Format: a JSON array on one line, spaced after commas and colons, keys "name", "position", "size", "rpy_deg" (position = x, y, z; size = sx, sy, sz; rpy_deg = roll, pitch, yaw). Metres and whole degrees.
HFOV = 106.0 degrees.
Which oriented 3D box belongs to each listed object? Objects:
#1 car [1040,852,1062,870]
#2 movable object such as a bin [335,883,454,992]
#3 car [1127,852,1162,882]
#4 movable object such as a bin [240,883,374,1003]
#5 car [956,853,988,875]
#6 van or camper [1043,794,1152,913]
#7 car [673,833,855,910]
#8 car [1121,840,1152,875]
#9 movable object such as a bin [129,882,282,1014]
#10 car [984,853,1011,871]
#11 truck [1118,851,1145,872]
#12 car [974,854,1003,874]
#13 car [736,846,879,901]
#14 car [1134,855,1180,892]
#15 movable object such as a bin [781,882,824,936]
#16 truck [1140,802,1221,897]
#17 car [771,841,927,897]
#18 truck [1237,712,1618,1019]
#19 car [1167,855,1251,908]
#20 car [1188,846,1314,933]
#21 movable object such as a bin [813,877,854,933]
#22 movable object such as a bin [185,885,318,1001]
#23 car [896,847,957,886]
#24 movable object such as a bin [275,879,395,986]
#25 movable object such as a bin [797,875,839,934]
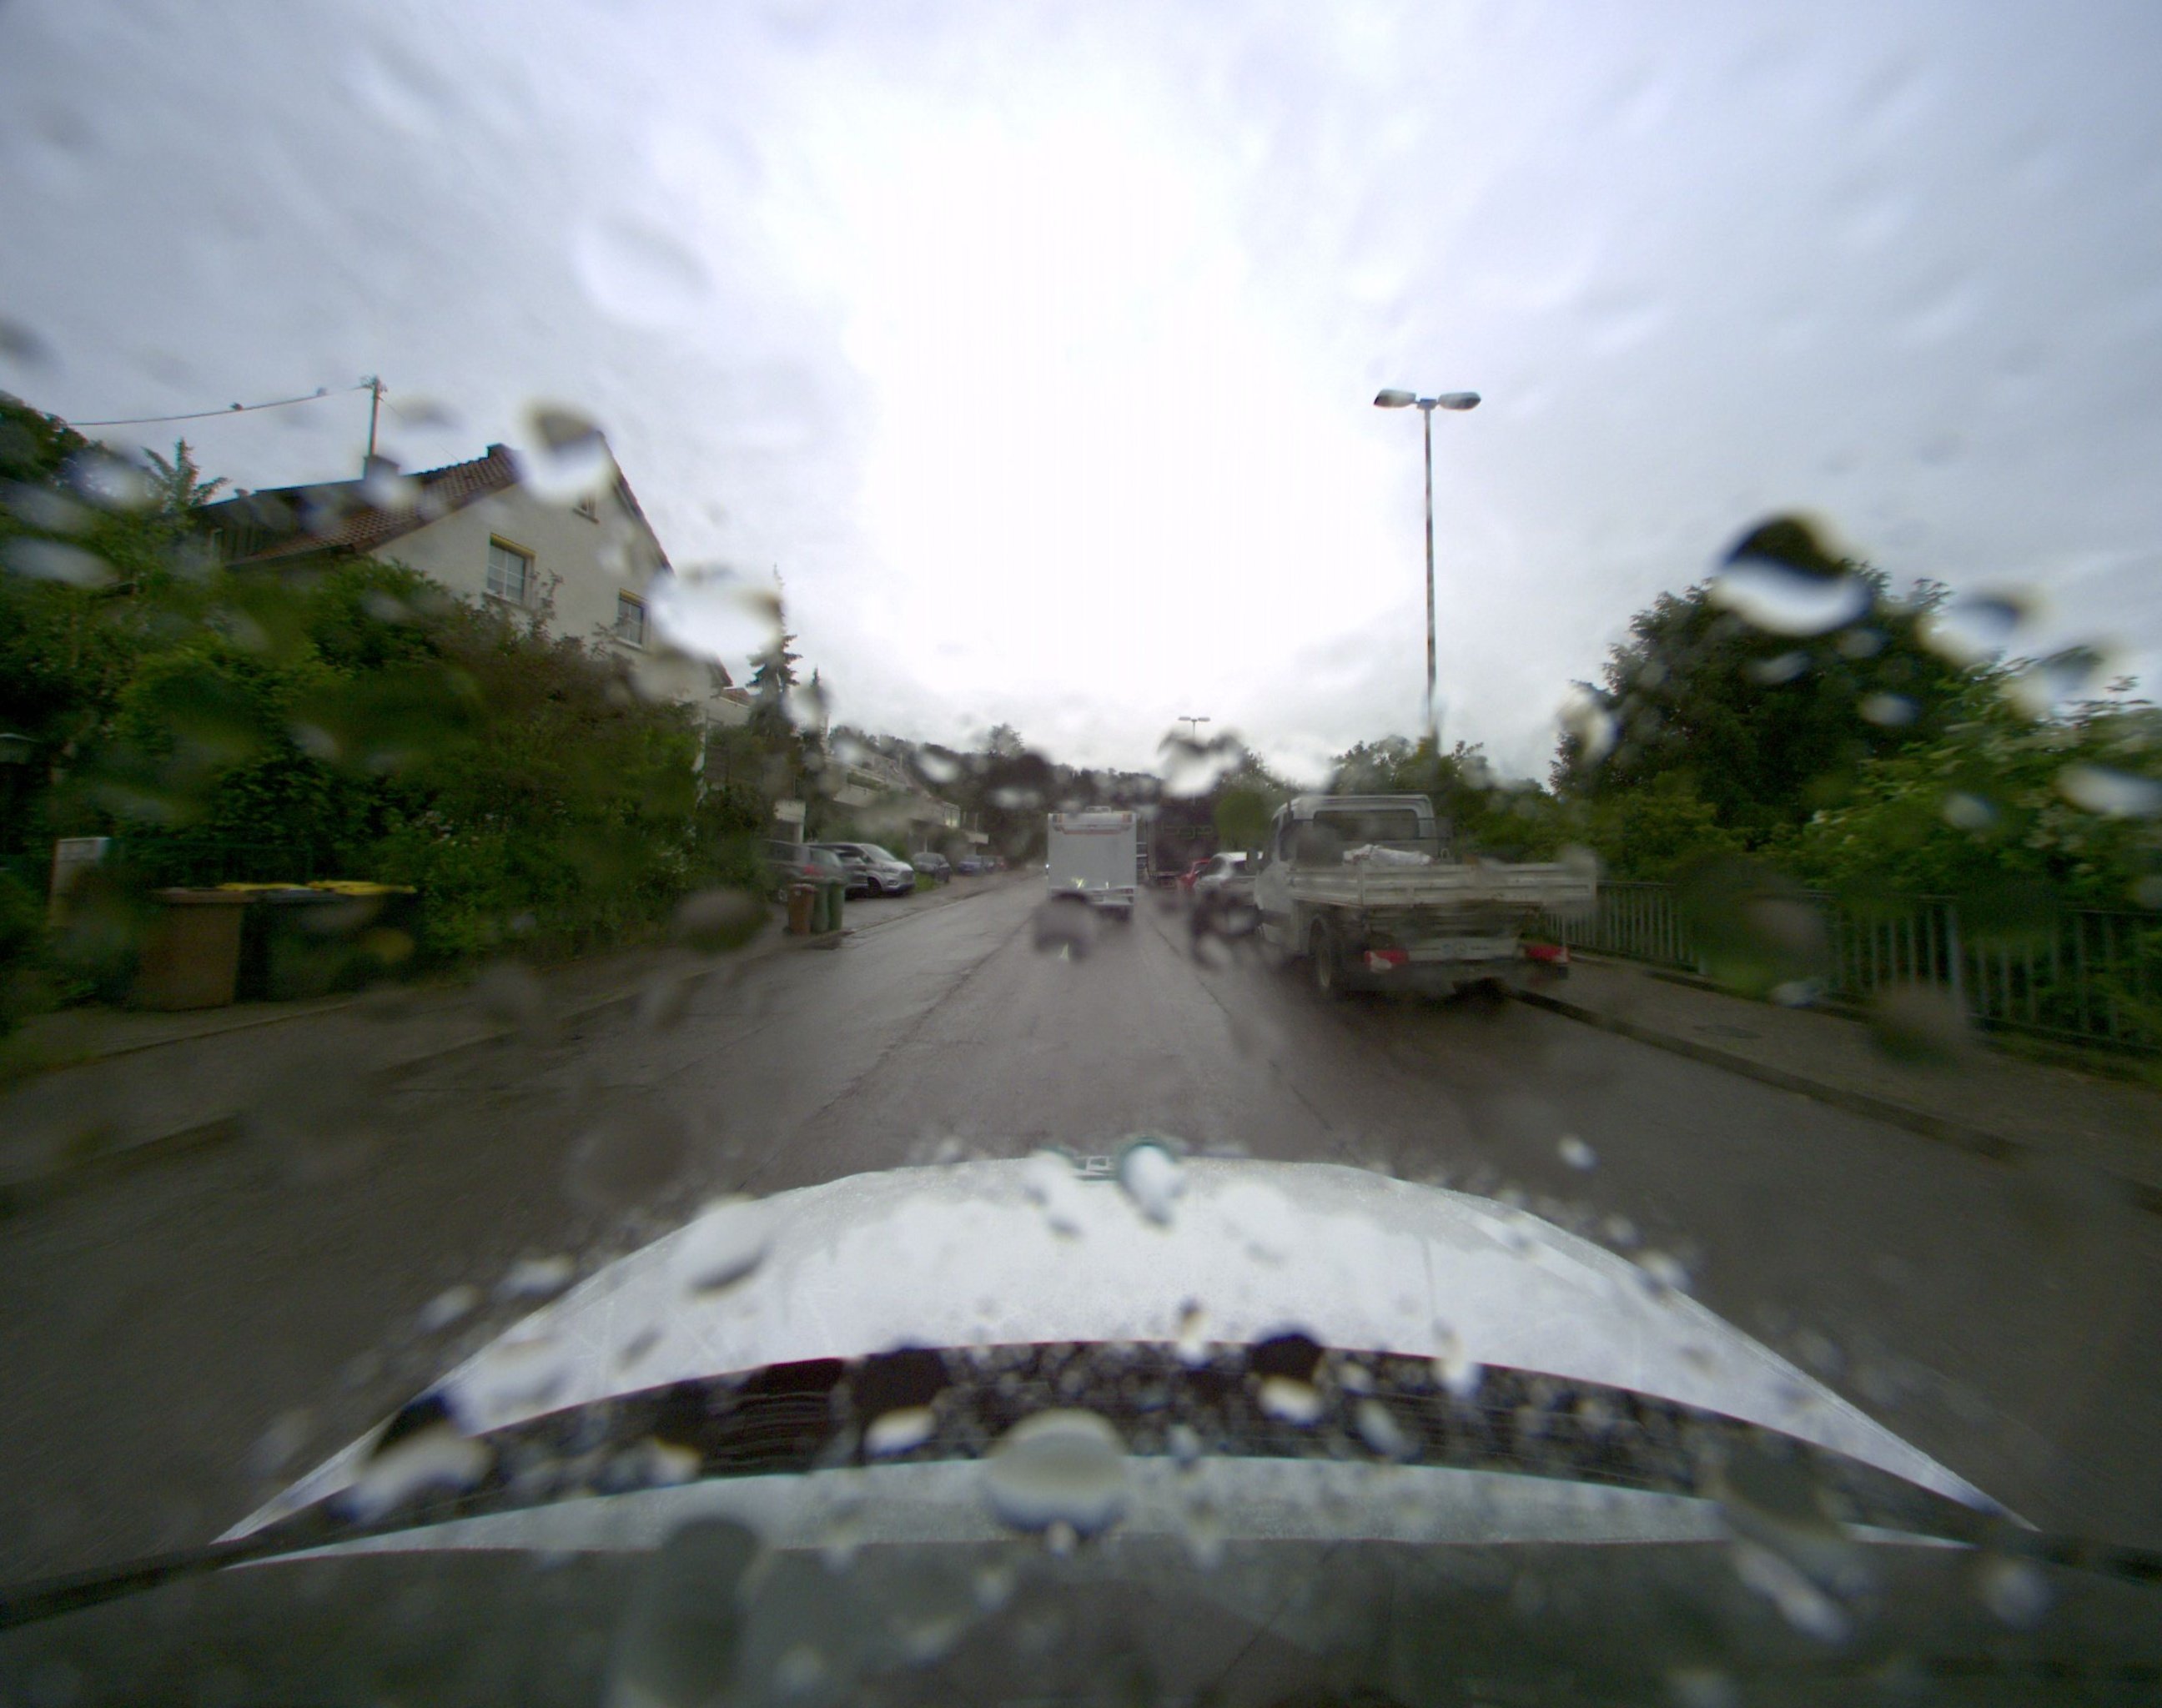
[{"name": "car", "position": [-2.796, 0.654, 76.500], "size": [1.900, 1.607, 4.426], "rpy_deg": [1, 0, -1]}, {"name": "movable object such as a bin", "position": [-7.298, 0.860, 8.680], "size": [0.692, 1.083, 0.713], "rpy_deg": [-1, 0, 20]}, {"name": "car", "position": [3.791, 0.734, 48.959], "size": [1.928, 1.672, 4.697], "rpy_deg": [-1, 0, 3]}, {"name": "movable object such as a bin", "position": [-7.588, 0.844, 8.003], "size": [0.692, 1.083, 0.713], "rpy_deg": [-1, 0, 20]}, {"name": "car", "position": [-7.768, 0.678, 58.314], "size": [1.602, 1.434, 3.959], "rpy_deg": [4, 0, 0]}, {"name": "van or camper", "position": [0.486, 0.079, 22.933], "size": [2.606, 2.853, 6.032], "rpy_deg": [1, -2, 2]}, {"name": "car", "position": [-8.391, 0.434, 21.668], "size": [4.026, 1.692, 1.901], "rpy_deg": [4, 0, 14]}, {"name": "car", "position": [4.180, 0.244, 62.430], "size": [2.024, 2.505, 5.956], "rpy_deg": [-1, 0, 1]}, {"name": "movable object such as a bin", "position": [-7.852, 0.807, 7.322], "size": [0.692, 1.083, 0.713], "rpy_deg": [-1, 0, 20]}, {"name": "car", "position": [-7.356, 0.669, 72.249], "size": [1.768, 1.437, 4.589], "rpy_deg": [5, 0, 1]}, {"name": "truck", "position": [4.626, 0.672, 76.066], "size": [2.107, 1.852, 6.618], "rpy_deg": [2, 0, 0]}, {"name": "car", "position": [-7.244, 0.774, 64.234], "size": [1.627, 1.396, 4.240], "rpy_deg": [4, 0, 1]}, {"name": "car", "position": [-8.978, 0.607, 26.817], "size": [4.023, 1.638, 1.902], "rpy_deg": [1, -1, 17]}, {"name": "car", "position": [3.721, 0.947, 40.752], "size": [1.839, 1.683, 5.639], "rpy_deg": [-1, -1, 1]}, {"name": "movable object such as a bin", "position": [-5.079, 0.999, 14.884], "size": [0.601, 0.928, 0.563], "rpy_deg": [1, 0, -4]}, {"name": "truck", "position": [3.835, -0.126, 33.018], "size": [2.427, 3.335, 7.966], "rpy_deg": [-1, -1, 1]}, {"name": "car", "position": [-8.446, 0.562, 29.742], "size": [5.045, 1.944, 2.151], "rpy_deg": [-1, -1, 17]}, {"name": "truck", "position": [3.618, 0.133, 10.332], "size": [2.230, 2.631, 6.541], "rpy_deg": [-1, -1, 2]}, {"name": "car", "position": [3.861, 0.797, 25.385], "size": [1.826, 1.438, 4.986], "rpy_deg": [-1, -1, 0]}, {"name": "car", "position": [3.484, 0.688, 17.564], "size": [1.753, 1.604, 4.666], "rpy_deg": [-1, -1, 0]}, {"name": "movable object such as a bin", "position": [-4.947, 1.002, 16.297], "size": [0.601, 1.064, 0.697], "rpy_deg": [1, 0, -3]}, {"name": "movable object such as a bin", "position": [-8.374, 0.871, 8.236], "size": [0.692, 1.083, 0.713], "rpy_deg": [-1, 0, 20]}, {"name": "car", "position": [-7.370, 0.555, 39.248], "size": [1.682, 1.588, 4.201], "rpy_deg": [6, 0, 4]}, {"name": "movable object such as a bin", "position": [-8.134, 0.828, 8.895], "size": [0.692, 1.083, 0.713], "rpy_deg": [-1, 0, 20]}, {"name": "movable object such as a bin", "position": [-5.026, 0.955, 15.572], "size": [0.601, 1.064, 0.637], "rpy_deg": [1, 0, -4]}]
